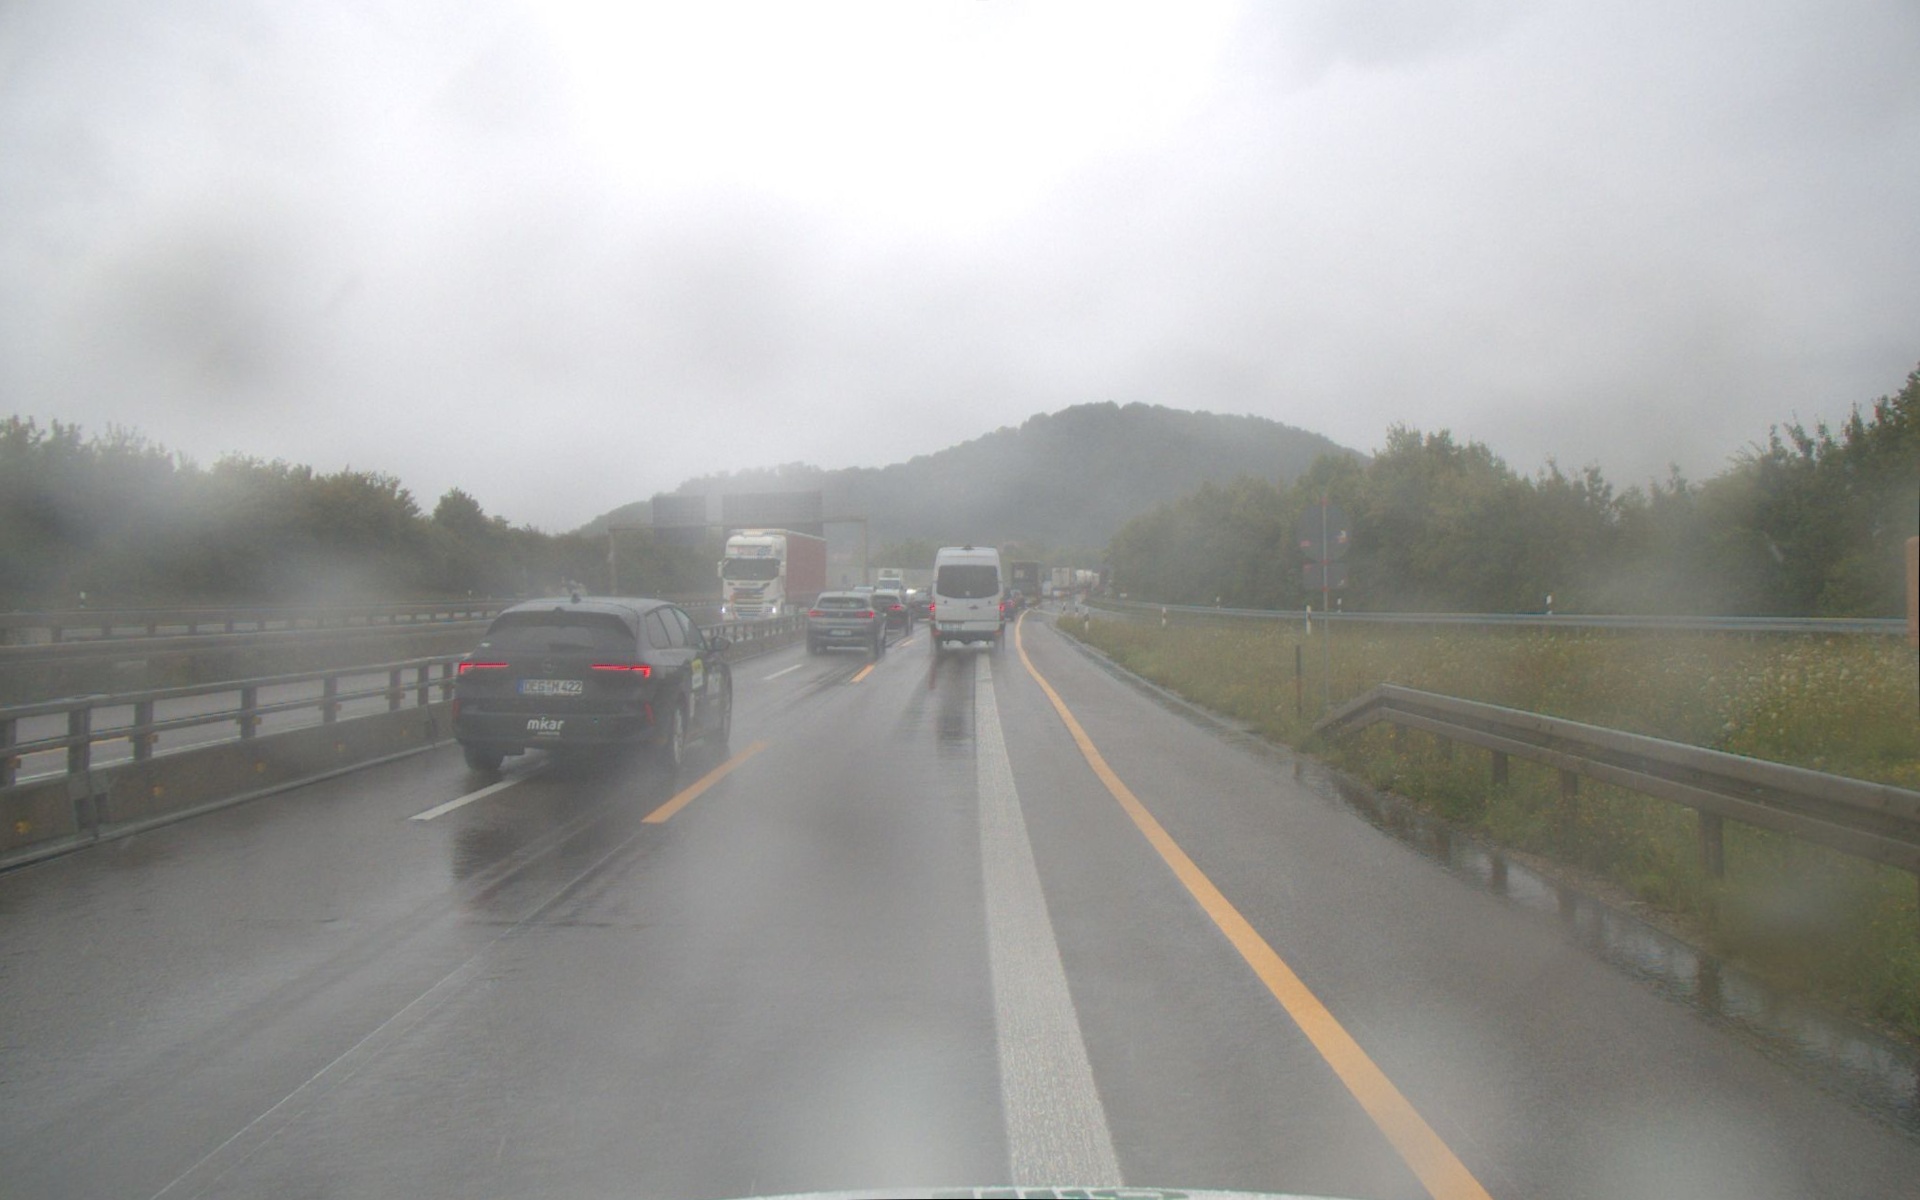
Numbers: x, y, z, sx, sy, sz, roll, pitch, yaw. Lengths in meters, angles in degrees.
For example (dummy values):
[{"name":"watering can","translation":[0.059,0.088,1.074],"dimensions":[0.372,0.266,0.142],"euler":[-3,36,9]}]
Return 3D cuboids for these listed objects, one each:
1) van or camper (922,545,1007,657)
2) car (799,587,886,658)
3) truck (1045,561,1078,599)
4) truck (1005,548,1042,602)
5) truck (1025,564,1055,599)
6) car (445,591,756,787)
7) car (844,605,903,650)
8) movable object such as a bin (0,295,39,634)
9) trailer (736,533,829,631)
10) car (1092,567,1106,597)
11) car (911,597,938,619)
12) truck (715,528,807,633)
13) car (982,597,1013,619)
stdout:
[{"name":"van or camper","translation":[0.148,0.023,43.622],"dimensions":[2.095,2.769,4.648],"euler":[0,0,1]},{"name":"car","translation":[-2.907,0.549,41.694],"dimensions":[1.829,1.688,3.988],"euler":[0,0,1]},{"name":"truck","translation":[13.923,-2.659,226.199],"dimensions":[3.845,4.868,9.913],"euler":[1,0,7]},{"name":"truck","translation":[6.016,-2.266,156.849],"dimensions":[3.251,4.868,9.909],"euler":[1,0,2]},{"name":"truck","translation":[9.347,-2.148,194.465],"dimensions":[3.251,3.827,9.909],"euler":[1,0,2]},{"name":"car","translation":[-3.007,0.676,14.897],"dimensions":[1.900,1.452,4.758],"euler":[1,0,-2]},{"name":"car","translation":[-3.066,0.953,59.263],"dimensions":[1.814,1.527,4.001],"euler":[0,0,1]},{"name":"movable object such as a bin","translation":[-25.371,-3.361,37.783],"dimensions":[3.521,8.286,8.310],"euler":[1,0,2]},{"name":"trailer","translation":[-8.373,-0.806,79.527],"dimensions":[2.914,4.370,11.062],"euler":[-1,0,2]},{"name":"car","translation":[20.057,-2.521,238.798],"dimensions":[2.014,4.265,6.749],"euler":[0,0,4]},{"name":"car","translation":[-1.747,0.387,81.767],"dimensions":[1.236,1.097,3.255],"euler":[0,0,1]},{"name":"truck","translation":[-8.599,-0.816,72.390],"dimensions":[2.945,4.347,6.802],"euler":[-1,0,2]},{"name":"car","translation":[1.944,0.414,86.720],"dimensions":[1.357,1.097,3.120],"euler":[0,0,-4]}]
